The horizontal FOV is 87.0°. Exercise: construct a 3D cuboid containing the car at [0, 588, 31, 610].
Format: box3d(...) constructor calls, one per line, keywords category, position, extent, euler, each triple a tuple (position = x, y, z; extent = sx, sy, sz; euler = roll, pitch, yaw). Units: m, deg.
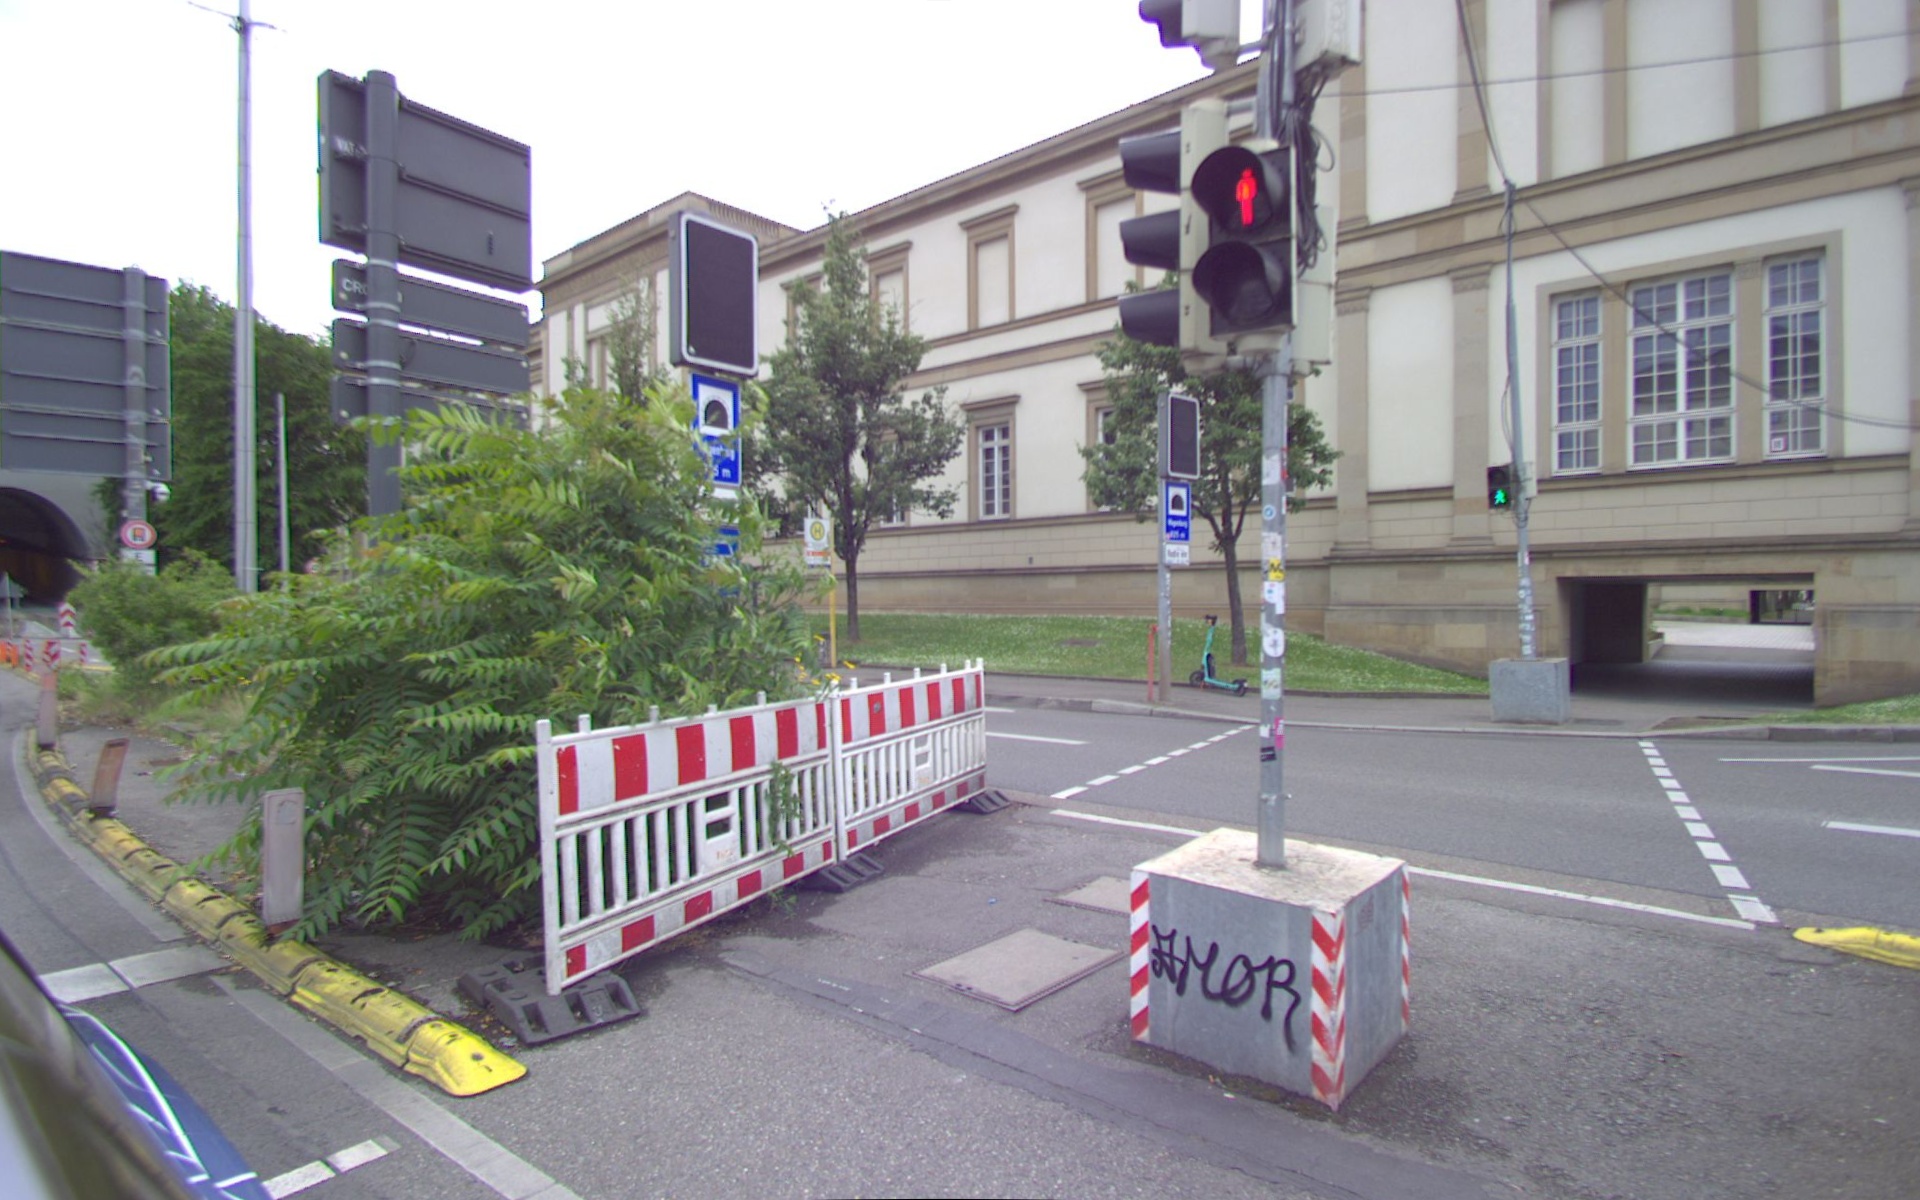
box3d(category="car", position=(-80.711, -0.068, 86.365), extent=(4.001, 1.759, 1.811), euler=(0, -1, 44))
